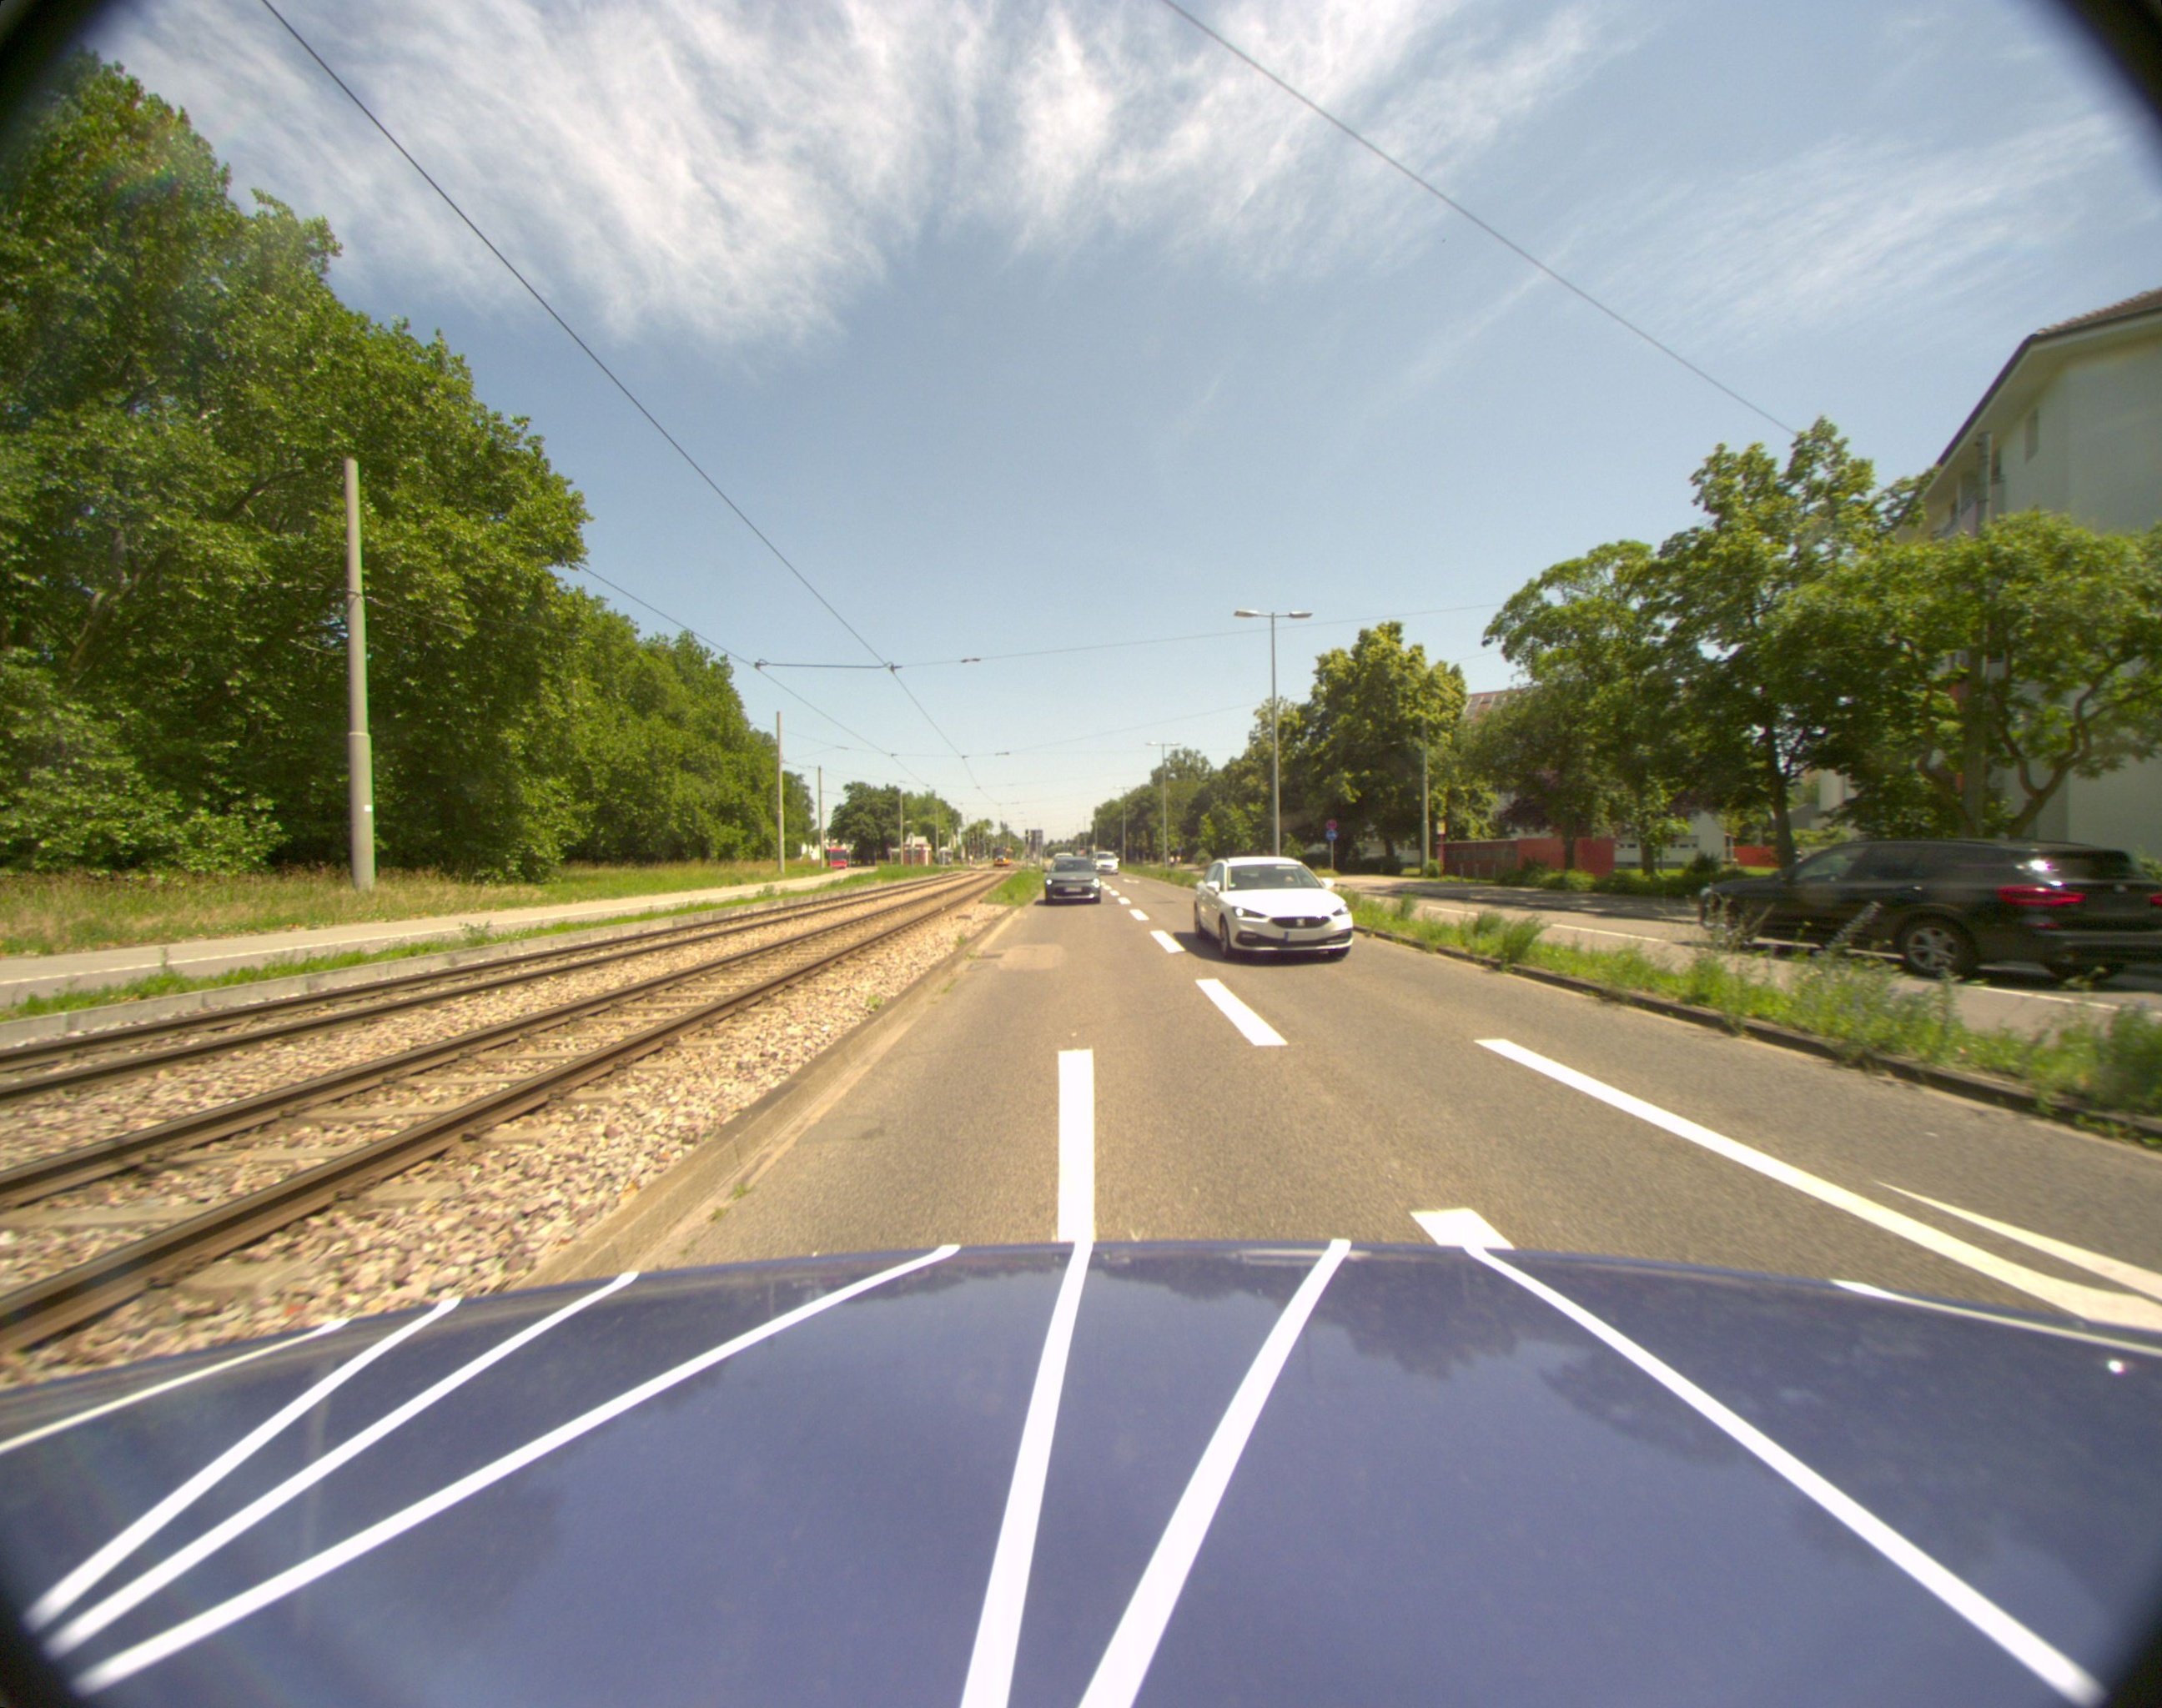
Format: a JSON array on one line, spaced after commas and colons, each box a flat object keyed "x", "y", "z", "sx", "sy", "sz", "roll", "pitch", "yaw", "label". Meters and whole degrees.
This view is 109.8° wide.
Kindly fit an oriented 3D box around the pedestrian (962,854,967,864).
[{"x": -20.053, "y": 0.891, "z": 130.513, "sx": 0.707, "sy": 1.754, "sz": 0.657, "roll": 0, "pitch": 1, "yaw": -1, "label": "pedestrian"}]

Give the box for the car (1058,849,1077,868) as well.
[{"x": -1.458, "y": 0.458, "z": 83.266, "sx": 1.922, "sy": 2.002, "sz": 3.998, "roll": 0, "pitch": 0, "yaw": -3, "label": "car"}]

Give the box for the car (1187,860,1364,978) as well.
[{"x": 2.867, "y": 0.875, "z": 12.103, "sx": 1.772, "sy": 1.460, "sz": 4.111, "roll": -2, "pitch": 0, "yaw": 1, "label": "car"}]

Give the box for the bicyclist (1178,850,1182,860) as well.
[{"x": 13.378, "y": 0.172, "z": 102.666, "sx": 0.358, "sy": 1.384, "sz": 0.440, "roll": -2, "pitch": 1, "yaw": 0, "label": "bicyclist"}]

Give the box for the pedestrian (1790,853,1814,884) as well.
[{"x": 33.853, "y": 0.688, "z": 35.679, "sx": 0.474, "sy": 1.423, "sz": 0.688, "roll": 0, "pitch": 1, "yaw": 1, "label": "pedestrian"}]

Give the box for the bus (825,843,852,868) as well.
[{"x": -36.626, "y": 0.150, "z": 114.600, "sx": 2.771, "sy": 3.419, "sz": 12.421, "roll": -3, "pitch": 1, "yaw": -22, "label": "bus"}]

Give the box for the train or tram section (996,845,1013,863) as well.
[{"x": -13.986, "y": 0.017, "z": 139.347, "sx": 2.525, "sy": 3.303, "sz": 7.258, "roll": 0, "pitch": 0, "yaw": -2, "label": "train or tram section"}]

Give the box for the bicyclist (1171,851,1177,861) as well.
[{"x": 12.597, "y": 0.217, "z": 102.926, "sx": 0.546, "sy": 1.338, "sz": 0.755, "roll": 0, "pitch": 0, "yaw": -4, "label": "bicyclist"}]

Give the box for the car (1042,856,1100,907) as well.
[{"x": -0.346, "y": 0.853, "z": 25.586, "sx": 1.788, "sy": 1.554, "sz": 4.135, "roll": 0, "pitch": 0, "yaw": -1, "label": "car"}]

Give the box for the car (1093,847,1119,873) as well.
[{"x": 2.033, "y": 0.478, "z": 62.629, "sx": 1.999, "sy": 2.002, "sz": 3.999, "roll": 0, "pitch": 0, "yaw": -1, "label": "car"}]

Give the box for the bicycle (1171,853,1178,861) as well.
[{"x": 12.611, "y": 0.399, "z": 102.458, "sx": 0.590, "sy": 1.126, "sz": 1.615, "roll": 0, "pitch": 0, "yaw": -2, "label": "bicycle"}]

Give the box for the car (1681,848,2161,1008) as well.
[{"x": 10.888, "y": 0.747, "z": 10.153, "sx": 1.928, "sy": 1.616, "sz": 4.755, "roll": 1, "pitch": 1, "yaw": 0, "label": "car"}]

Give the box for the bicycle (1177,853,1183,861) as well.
[{"x": 13.399, "y": 0.410, "z": 102.734, "sx": 0.555, "sy": 1.088, "sz": 1.379, "roll": -2, "pitch": 1, "yaw": -1, "label": "bicycle"}]

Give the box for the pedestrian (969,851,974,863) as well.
[{"x": -15.381, "y": 0.429, "z": 106.668, "sx": 0.637, "sy": 1.749, "sz": 0.815, "roll": -3, "pitch": 2, "yaw": -16, "label": "pedestrian"}]
